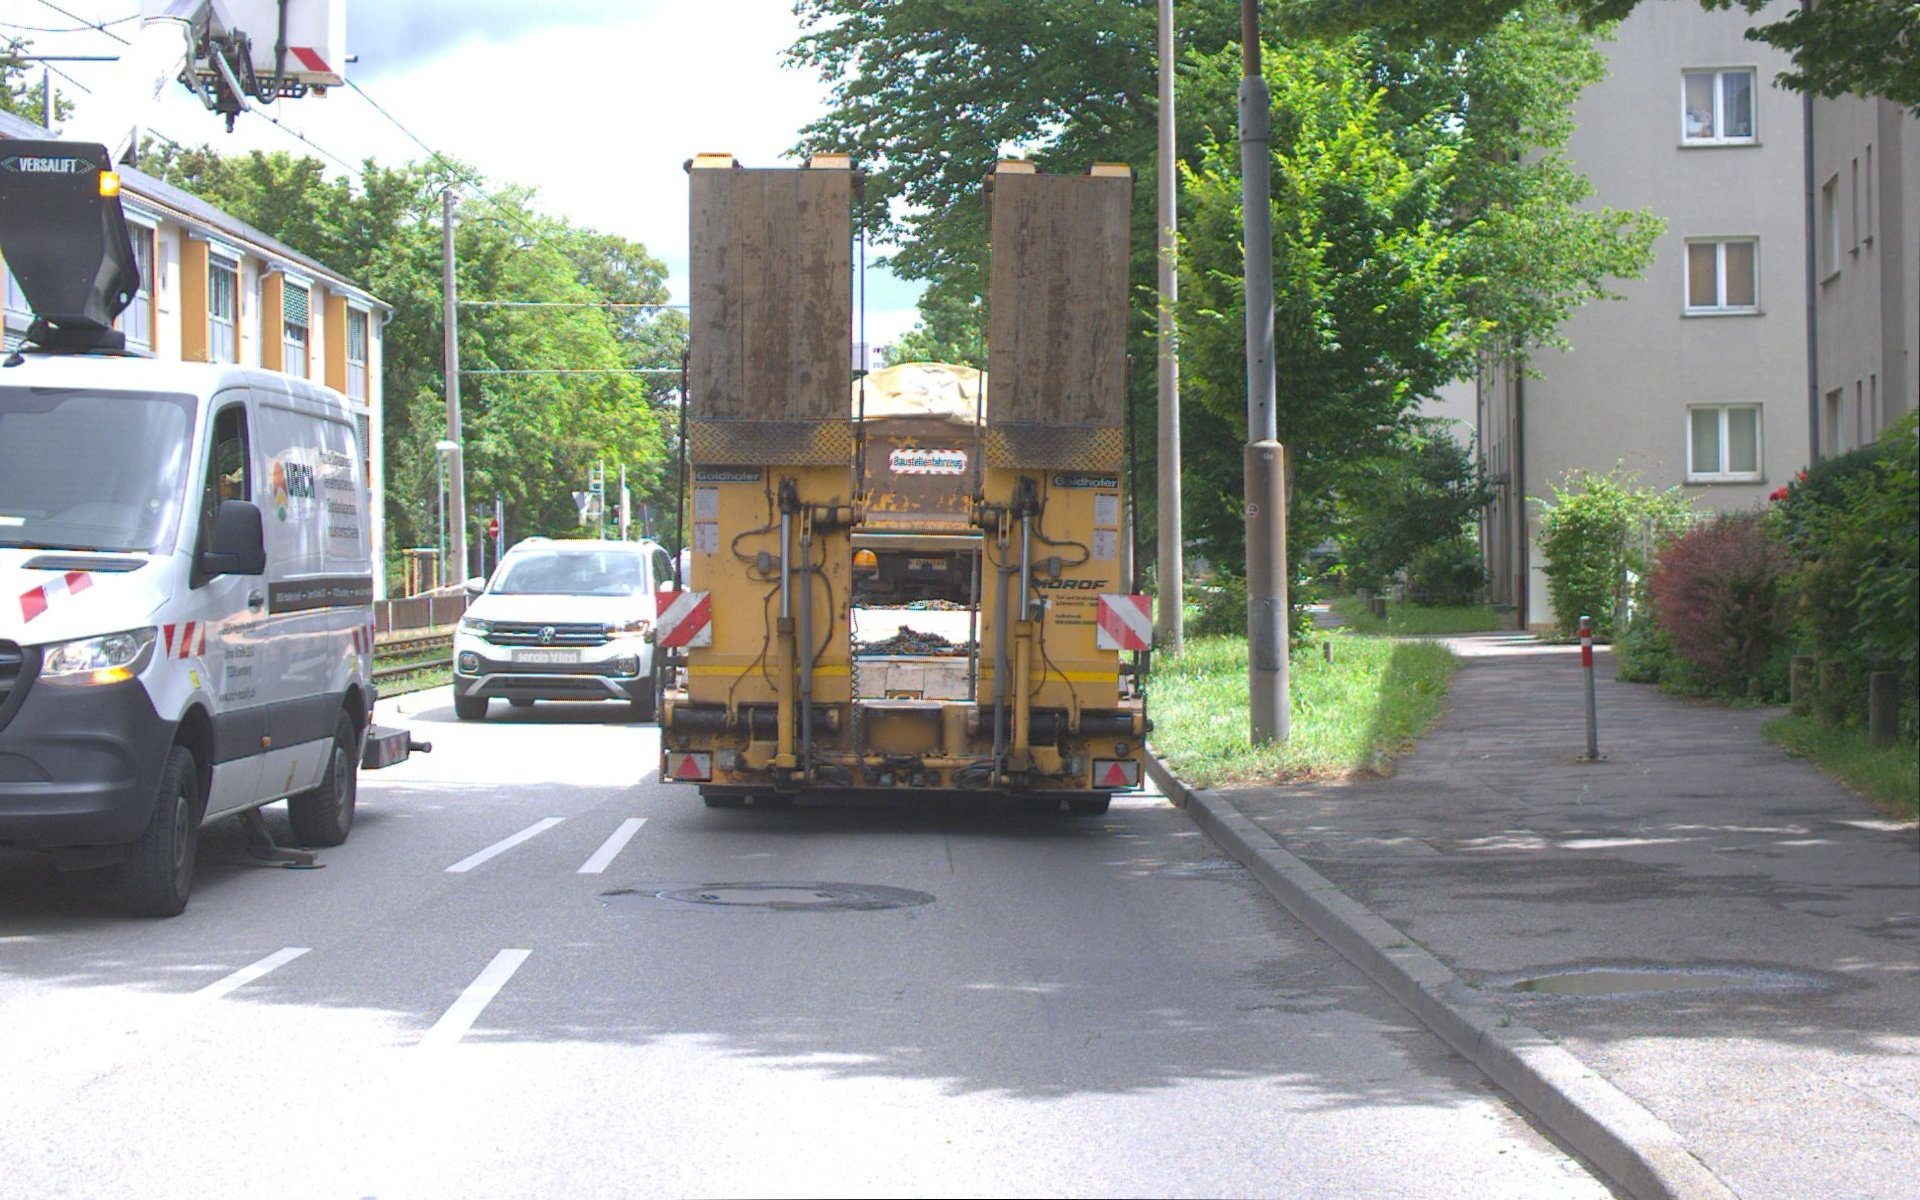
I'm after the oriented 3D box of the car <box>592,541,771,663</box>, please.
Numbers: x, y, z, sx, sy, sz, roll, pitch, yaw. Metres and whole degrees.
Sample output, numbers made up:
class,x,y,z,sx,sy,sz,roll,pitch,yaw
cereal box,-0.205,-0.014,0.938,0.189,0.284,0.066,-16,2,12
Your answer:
class,x,y,z,sx,sy,sz,roll,pitch,yaw
car,-3.608,-0.011,45.226,1.879,1.476,4.528,1,1,1

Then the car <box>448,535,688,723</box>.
class,x,y,z,sx,sy,sz,roll,pitch,yaw
car,-3.433,0.219,30.700,1.718,1.547,3.917,1,1,-1

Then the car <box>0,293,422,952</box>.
class,x,y,z,sx,sy,sz,roll,pitch,yaw
car,-3.999,0.025,15.831,1.993,2.422,6.322,1,1,0

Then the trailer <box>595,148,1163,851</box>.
class,x,y,z,sx,sy,sz,roll,pitch,yaw
trailer,-0.338,-0.593,22.967,2.823,3.512,11.052,1,1,1

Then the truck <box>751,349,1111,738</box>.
class,x,y,z,sx,sy,sz,roll,pitch,yaw
truck,-0.238,-0.532,32.301,2.917,3.156,7.680,1,1,0
